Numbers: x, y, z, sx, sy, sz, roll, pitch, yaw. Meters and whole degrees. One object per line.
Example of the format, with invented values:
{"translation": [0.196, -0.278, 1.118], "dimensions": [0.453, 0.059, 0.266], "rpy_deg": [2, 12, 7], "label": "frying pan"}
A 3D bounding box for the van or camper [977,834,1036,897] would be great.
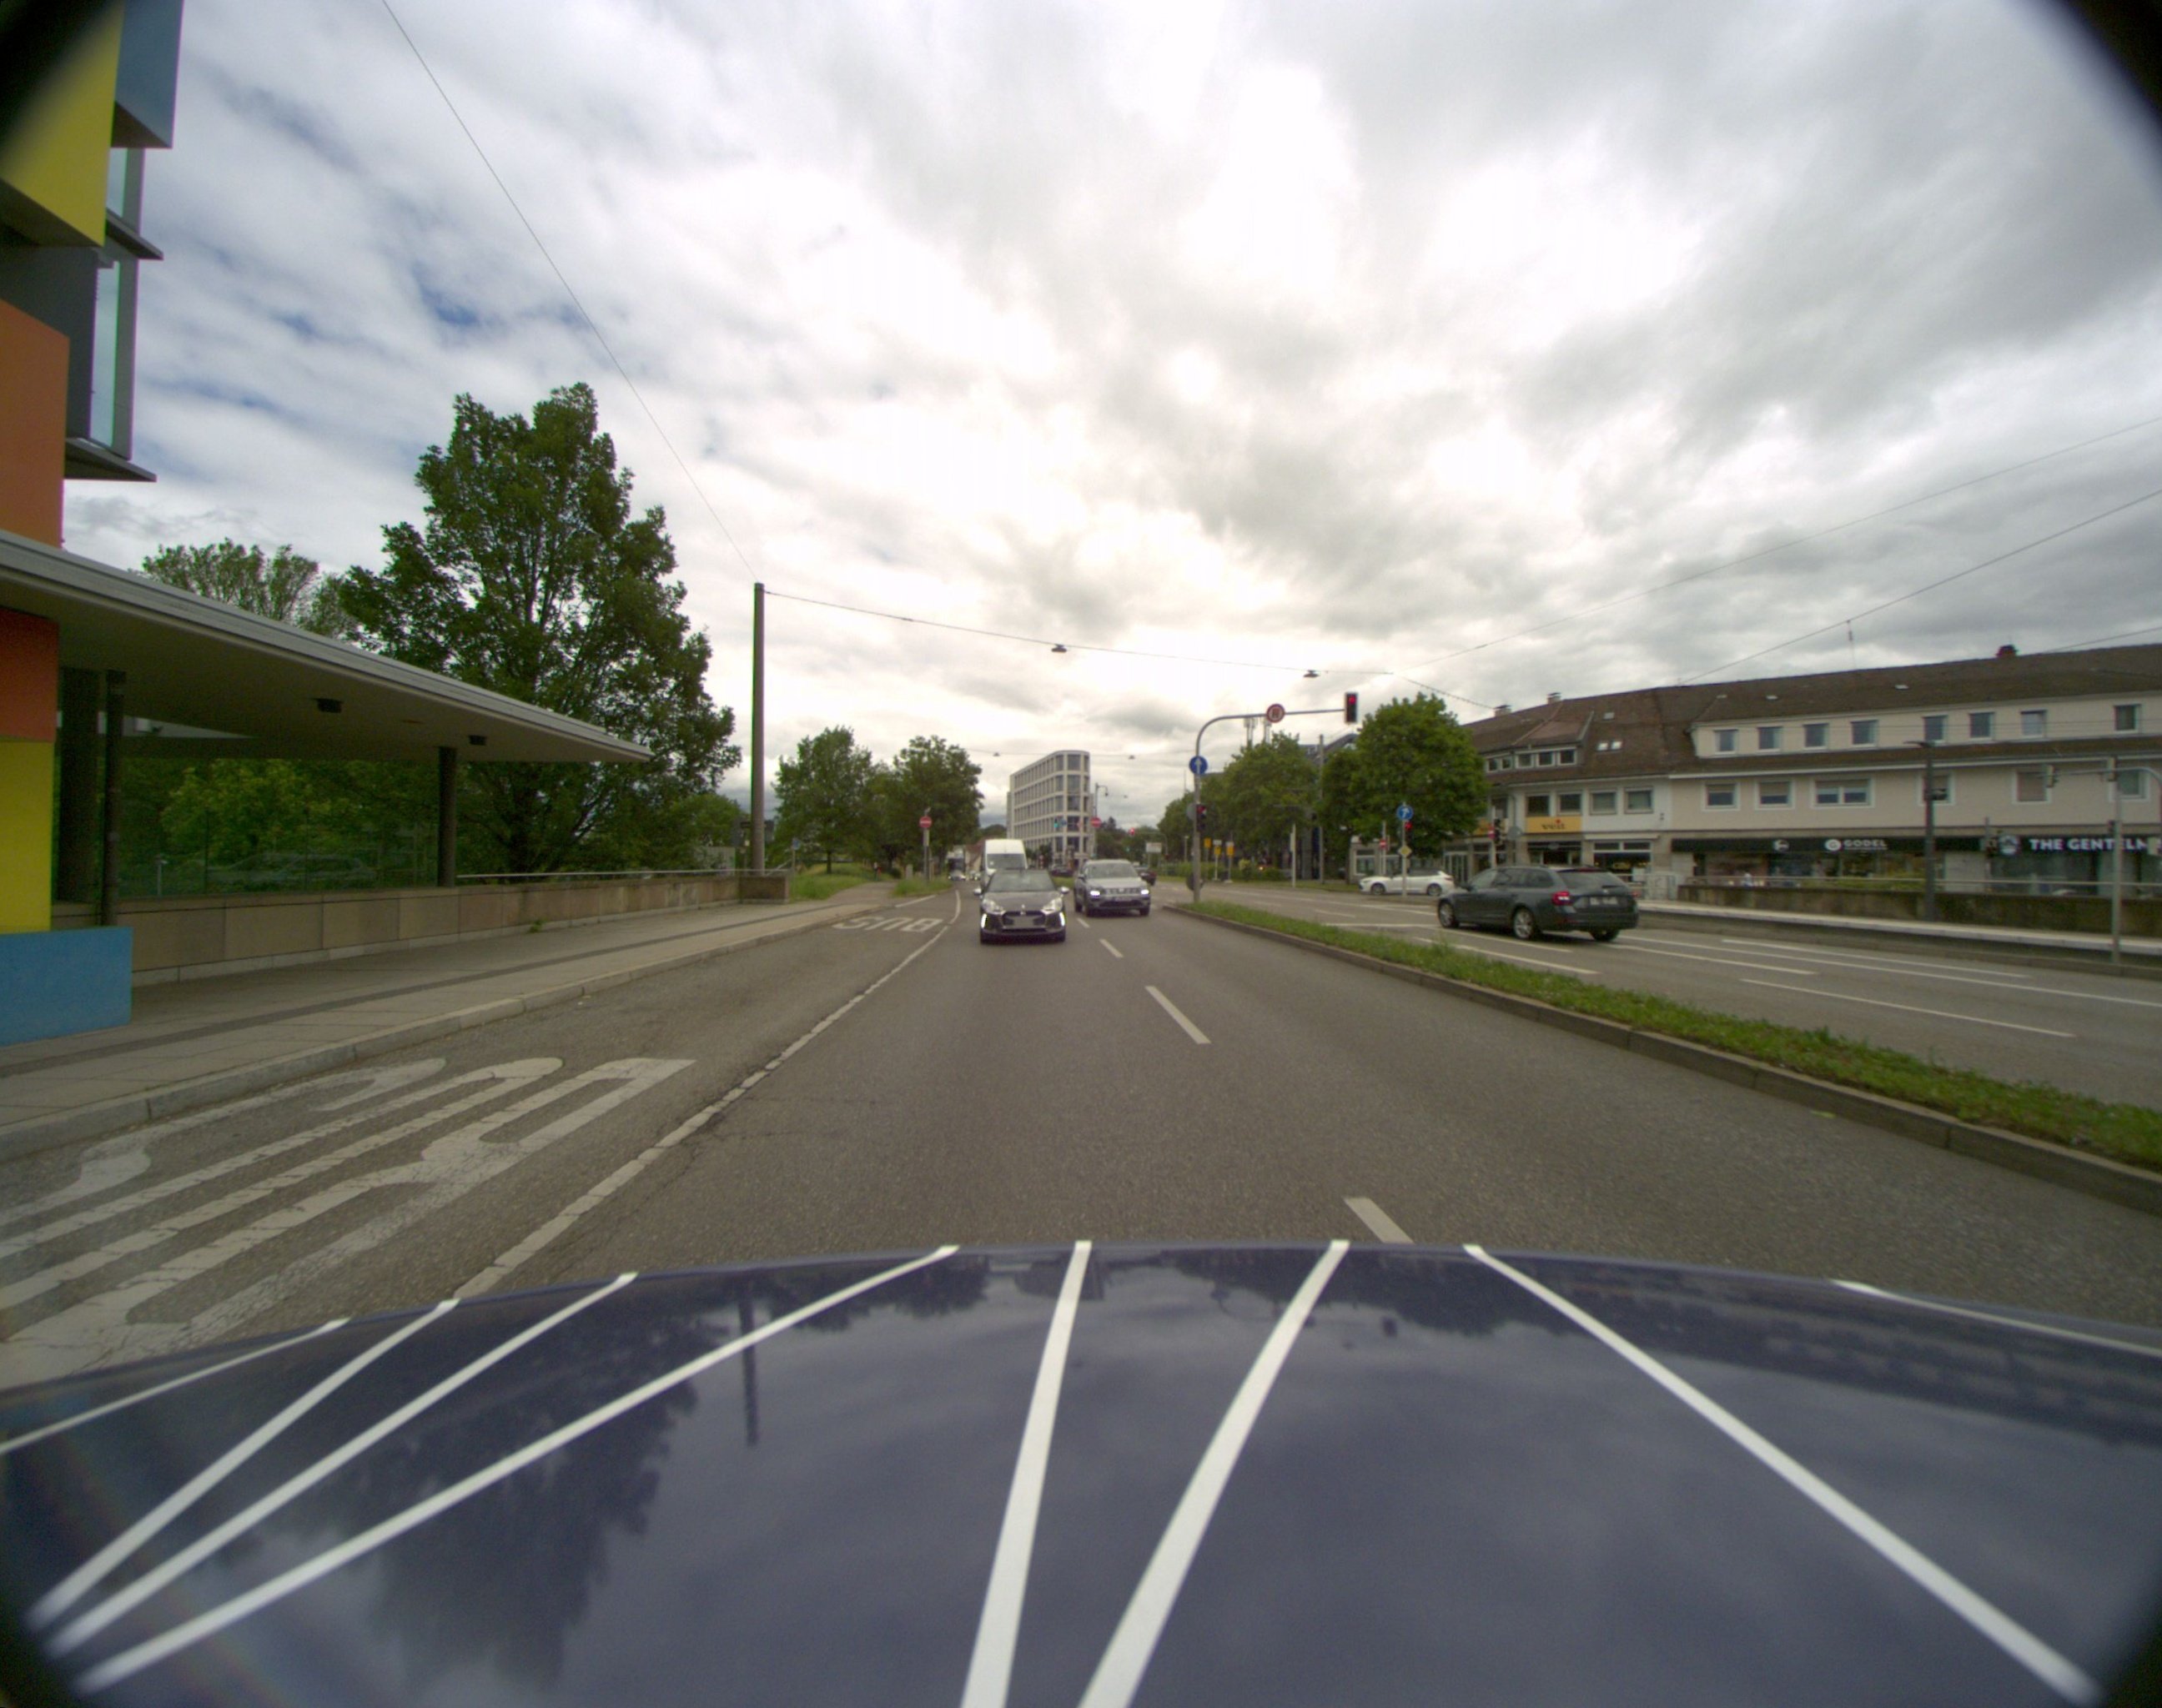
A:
{"translation": [-3.692, 0.517, 36.382], "dimensions": [2.282, 2.690, 6.989], "rpy_deg": [1, 0, -9], "label": "van or camper"}

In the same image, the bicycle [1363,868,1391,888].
{"translation": [18.765, 1.491, 48.133], "dimensions": [1.686, 1.246, 0.625], "rpy_deg": [1, 1, -25], "label": "bicycle"}

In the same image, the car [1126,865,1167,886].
{"translation": [4.577, 1.484, 53.760], "dimensions": [2.000, 1.348, 4.807], "rpy_deg": [1, -1, -7], "label": "car"}

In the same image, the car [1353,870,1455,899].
{"translation": [16.924, 1.579, 40.098], "dimensions": [4.799, 1.348, 2.003], "rpy_deg": [1, 0, 19], "label": "car"}

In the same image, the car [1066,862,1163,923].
{"translation": [0.895, 1.082, 23.261], "dimensions": [2.000, 1.640, 4.389], "rpy_deg": [-1, 0, -10], "label": "car"}

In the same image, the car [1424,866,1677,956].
{"translation": [9.230, 1.031, 15.544], "dimensions": [1.999, 1.503, 4.642], "rpy_deg": [1, 0, -5], "label": "car"}

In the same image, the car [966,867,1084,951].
{"translation": [-1.341, 1.078, 16.252], "dimensions": [1.865, 1.516, 3.995], "rpy_deg": [1, 0, -14], "label": "car"}
